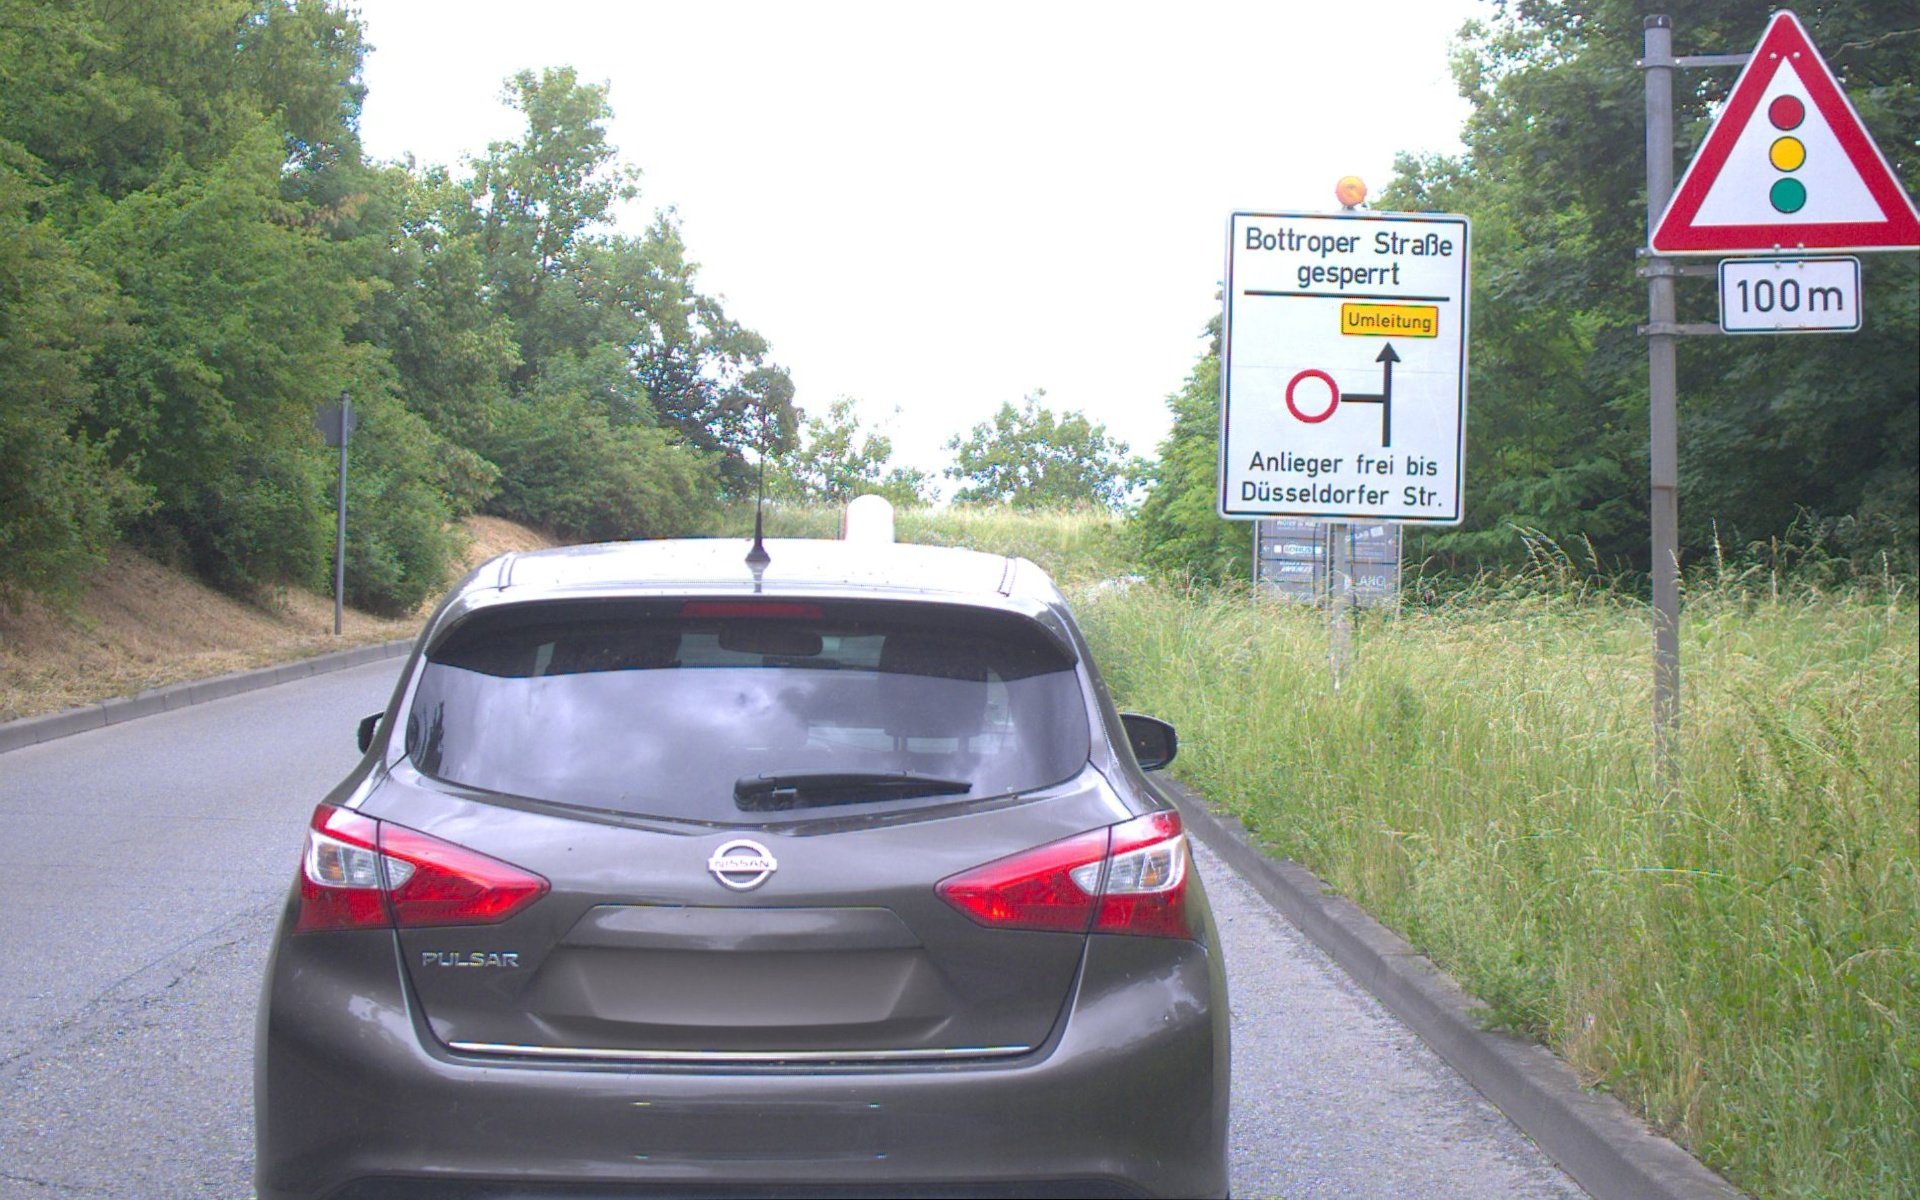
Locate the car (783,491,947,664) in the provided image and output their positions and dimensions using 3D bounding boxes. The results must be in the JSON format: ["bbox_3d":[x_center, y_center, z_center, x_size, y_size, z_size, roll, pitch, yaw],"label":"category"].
[{"bbox_3d":[-1.066,-0.282,40.043,1.736,1.928,3.543,0,1,1],"label":"car"}]

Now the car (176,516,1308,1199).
[{"bbox_3d":[-0.418,0.614,7.338,1.830,1.551,3.500,0,1,-2],"label":"car"}]

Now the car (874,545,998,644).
[{"bbox_3d":[-0.352,-0.119,54.957,1.736,1.521,3.543,0,1,4],"label":"car"}]

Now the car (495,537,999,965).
[{"bbox_3d":[-0.783,0.516,14.331,1.830,1.551,3.625,0,1,0],"label":"car"}]

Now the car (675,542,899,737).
[{"bbox_3d":[-1.412,0.284,29.263,1.736,1.551,3.544,0,1,0],"label":"car"}]

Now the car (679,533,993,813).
[{"bbox_3d":[-0.697,0.374,20.848,1.736,1.551,3.544,0,1,0],"label":"car"}]

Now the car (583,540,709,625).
[{"bbox_3d":[-5.322,-0.321,58.685,1.642,1.395,3.821,1,1,2],"label":"car"}]
